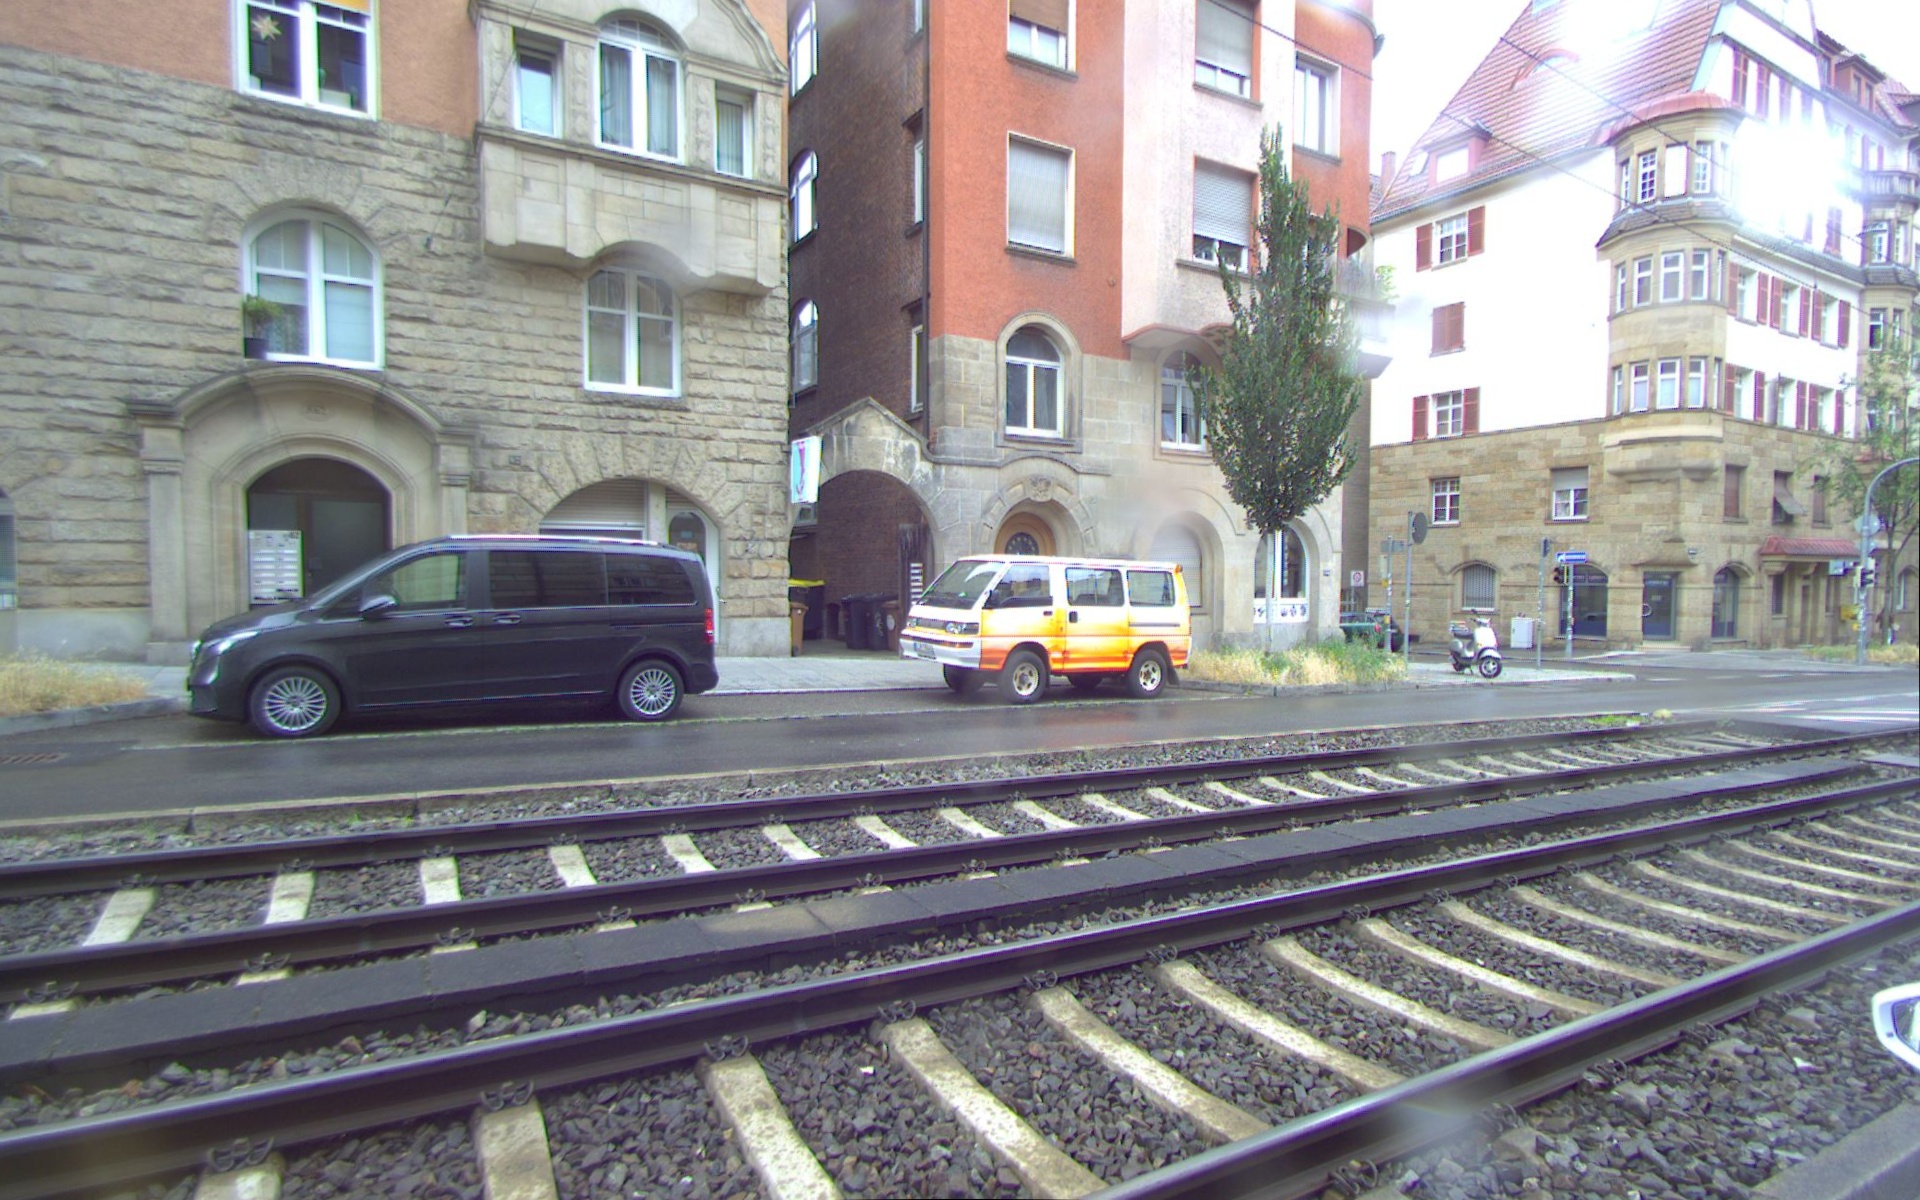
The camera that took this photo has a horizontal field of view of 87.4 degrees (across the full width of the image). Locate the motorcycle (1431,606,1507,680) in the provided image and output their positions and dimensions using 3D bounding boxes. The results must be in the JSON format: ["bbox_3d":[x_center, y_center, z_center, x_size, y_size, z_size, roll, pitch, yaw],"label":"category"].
[{"bbox_3d":[10.105,0.826,20.001,0.612,1.384,1.596,2,0,-3],"label":"motorcycle"}]

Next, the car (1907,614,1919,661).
[{"bbox_3d":[34.167,1.328,34.355,3.994,1.573,1.741,2,0,-34],"label":"car"}]

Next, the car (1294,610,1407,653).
[{"bbox_3d":[14.460,1.149,37.344,1.683,1.423,3.618,2,0,-34],"label":"car"}]

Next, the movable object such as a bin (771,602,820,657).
[{"bbox_3d":[-2.892,0.516,17.590,0.627,0.918,0.793,1,1,-27],"label":"movable object such as a bin"}]

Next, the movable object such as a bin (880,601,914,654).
[{"bbox_3d":[-1.173,0.509,18.631,0.442,0.957,0.557,1,-1,-27],"label":"movable object such as a bin"}]

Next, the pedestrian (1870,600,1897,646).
[{"bbox_3d":[34.813,0.862,37.882,0.697,1.695,0.626,2,0,-39],"label":"pedestrian"}]

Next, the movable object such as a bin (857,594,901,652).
[{"bbox_3d":[-1.546,0.434,19.139,0.607,1.090,0.679,1,-1,-27],"label":"movable object such as a bin"}]

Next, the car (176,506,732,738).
[{"bbox_3d":[-5.051,0.245,10.594,4.769,1.968,1.984,2,0,-30],"label":"car"}]

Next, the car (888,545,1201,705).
[{"bbox_3d":[1.275,0.371,14.439,4.295,2.001,1.721,2,0,-32],"label":"car"}]

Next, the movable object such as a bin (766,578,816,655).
[{"bbox_3d":[-3.107,0.294,18.463,0.648,1.360,0.903,1,1,-27],"label":"movable object such as a bin"}]

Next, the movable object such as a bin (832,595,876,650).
[{"bbox_3d":[-2.084,0.438,19.685,0.607,1.052,0.793,1,-1,-27],"label":"movable object such as a bin"}]

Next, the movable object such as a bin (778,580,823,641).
[{"bbox_3d":[-3.611,0.230,22.656,0.676,1.324,1.154,1,1,-26],"label":"movable object such as a bin"}]
